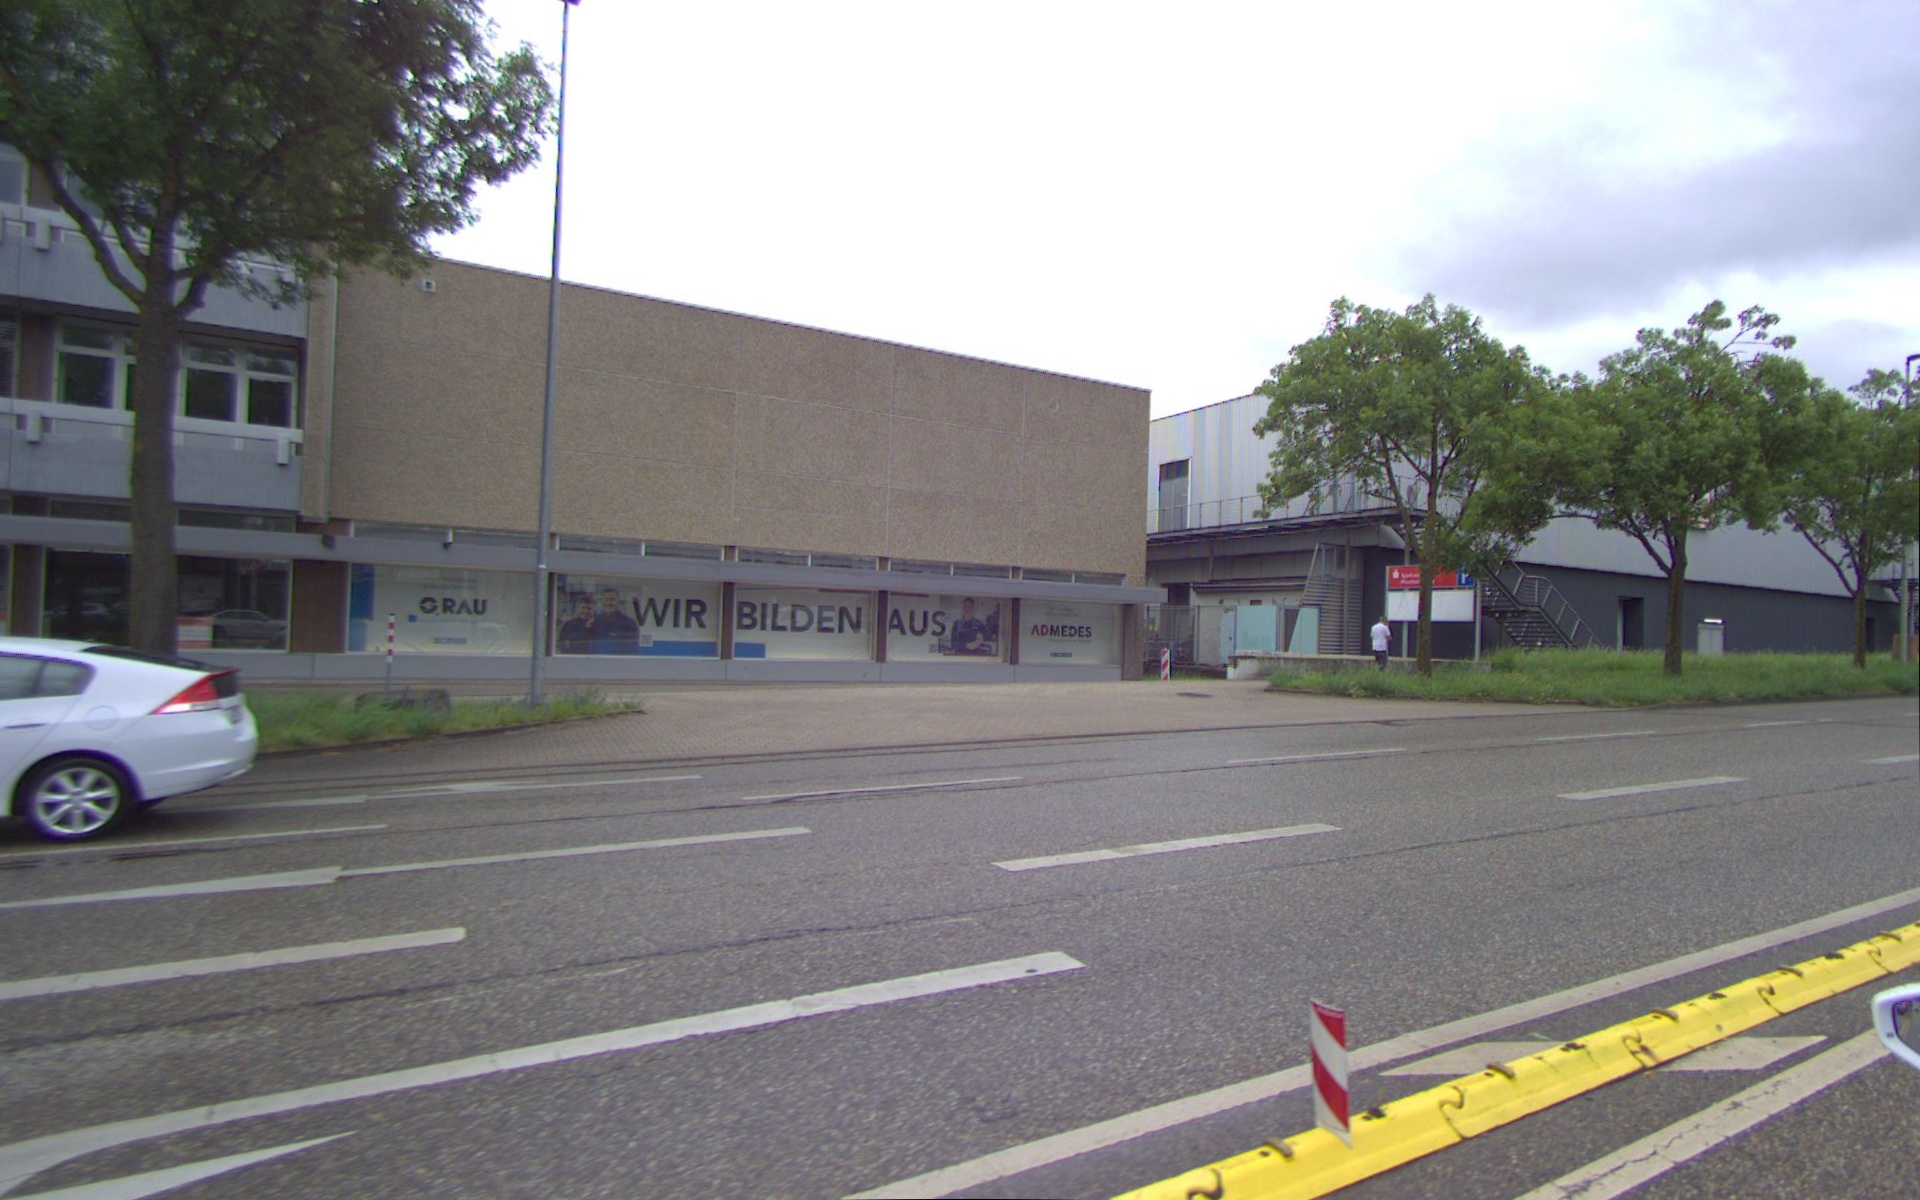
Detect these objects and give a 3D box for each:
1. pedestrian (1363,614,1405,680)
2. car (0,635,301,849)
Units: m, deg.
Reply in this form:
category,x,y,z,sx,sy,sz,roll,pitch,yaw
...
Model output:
category,x,y,z,sx,sy,sz,roll,pitch,yaw
pedestrian,10.689,1.181,25.302,0.757,1.605,0.582,1,1,-27
car,-7.427,0.961,7.122,4.414,1.424,1.734,2,-3,-29
